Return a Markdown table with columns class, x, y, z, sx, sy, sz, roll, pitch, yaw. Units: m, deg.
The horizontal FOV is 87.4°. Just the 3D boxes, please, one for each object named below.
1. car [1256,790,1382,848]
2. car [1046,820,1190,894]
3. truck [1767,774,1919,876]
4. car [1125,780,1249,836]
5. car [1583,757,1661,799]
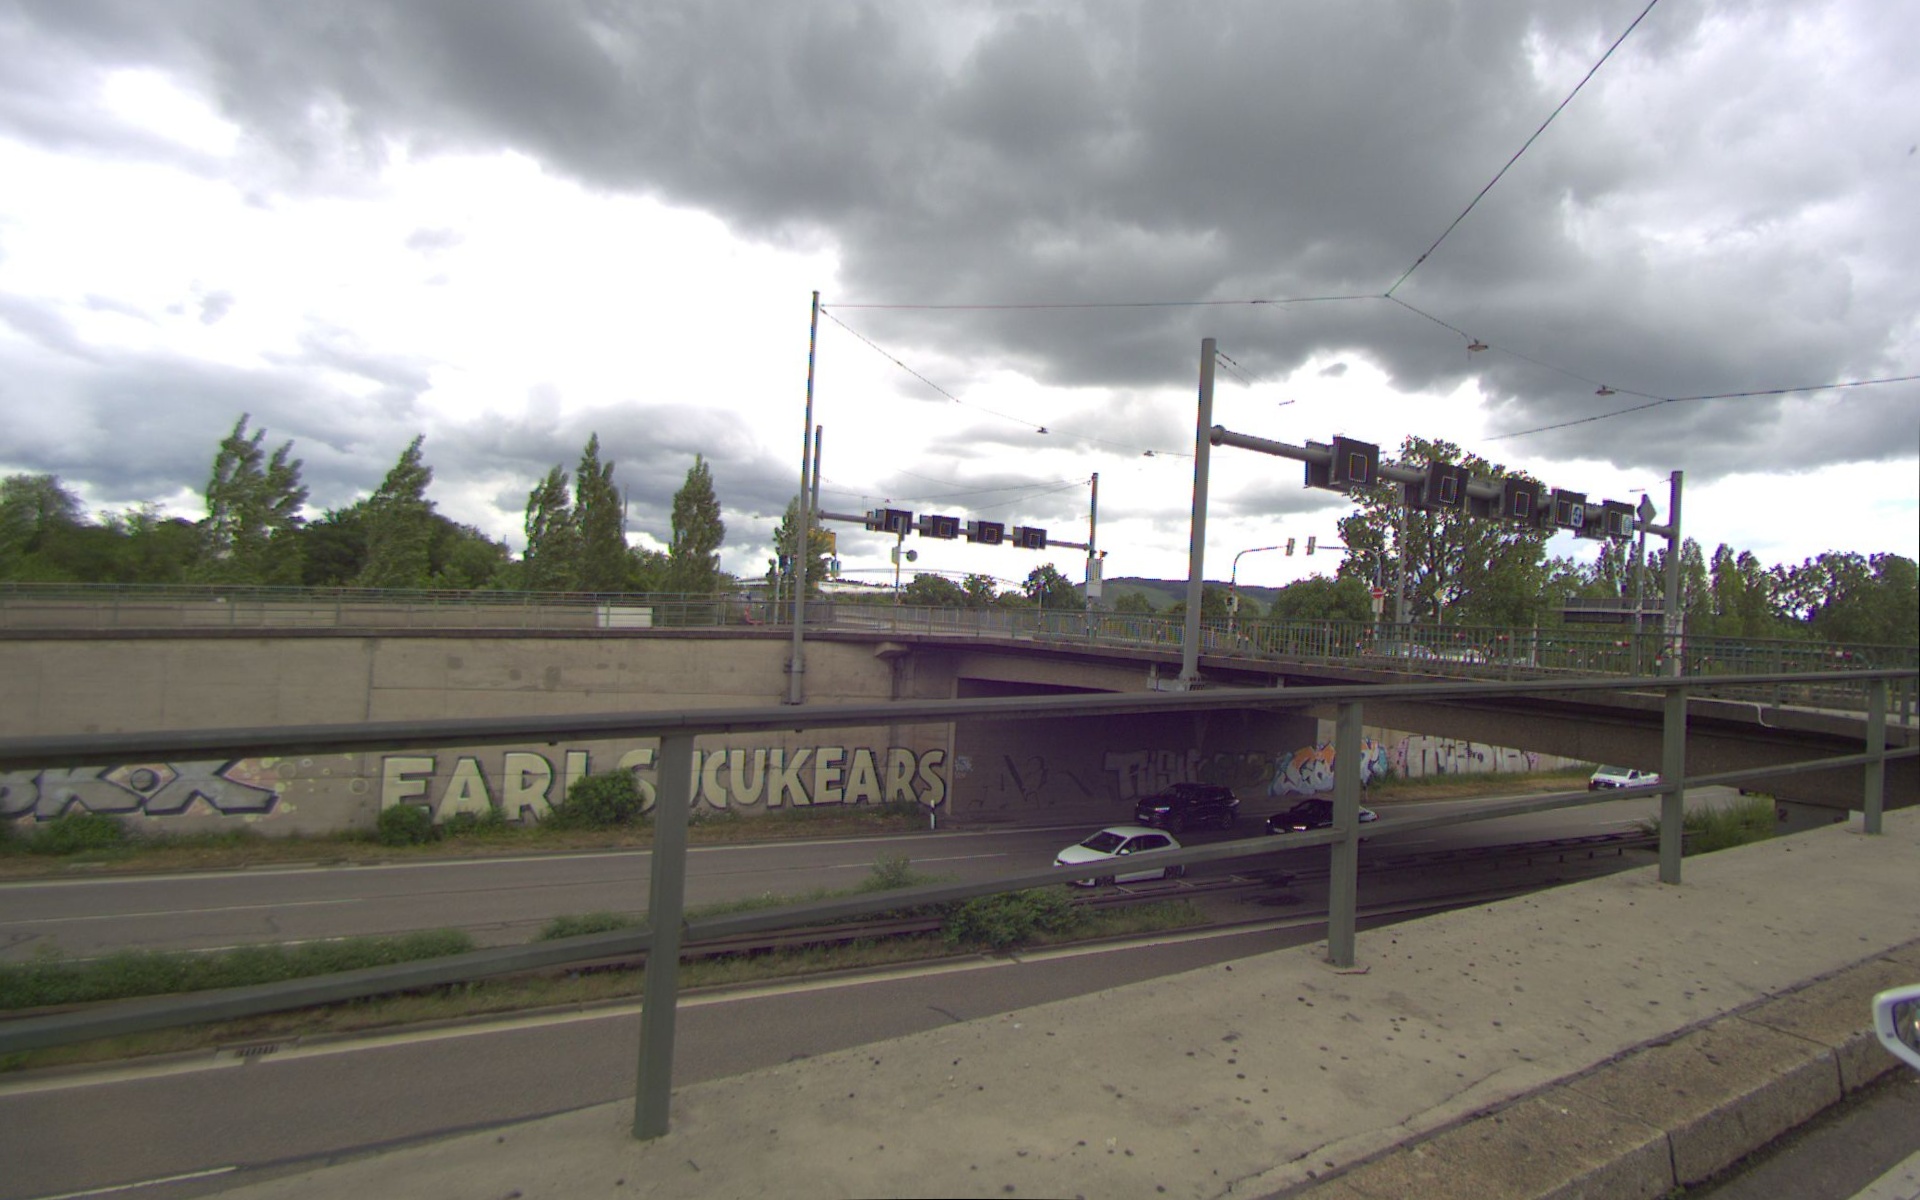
| class | x | y | z | sx | sy | sz | roll | pitch | yaw |
| --- | --- | --- | --- | --- | --- | --- | --- | --- | --- |
| car | 13.419 | 8.101 | 37.477 | 4.526 | 1.647 | 1.984 | 4 | -4 | -30 |
| car | 4.534 | 7.284 | 28.739 | 3.854 | 1.513 | 1.766 | 4 | -4 | -31 |
| truck | 33.055 | 8.233 | 37.449 | 7.148 | 3.048 | 2.223 | 4 | -2 | -30 |
| car | 8.770 | 7.955 | 38.677 | 4.526 | 1.647 | 1.984 | 4 | -4 | -30 |
| car | 37.207 | 9.944 | 56.405 | 4.860 | 1.932 | 1.936 | 5 | -3 | -34 |
